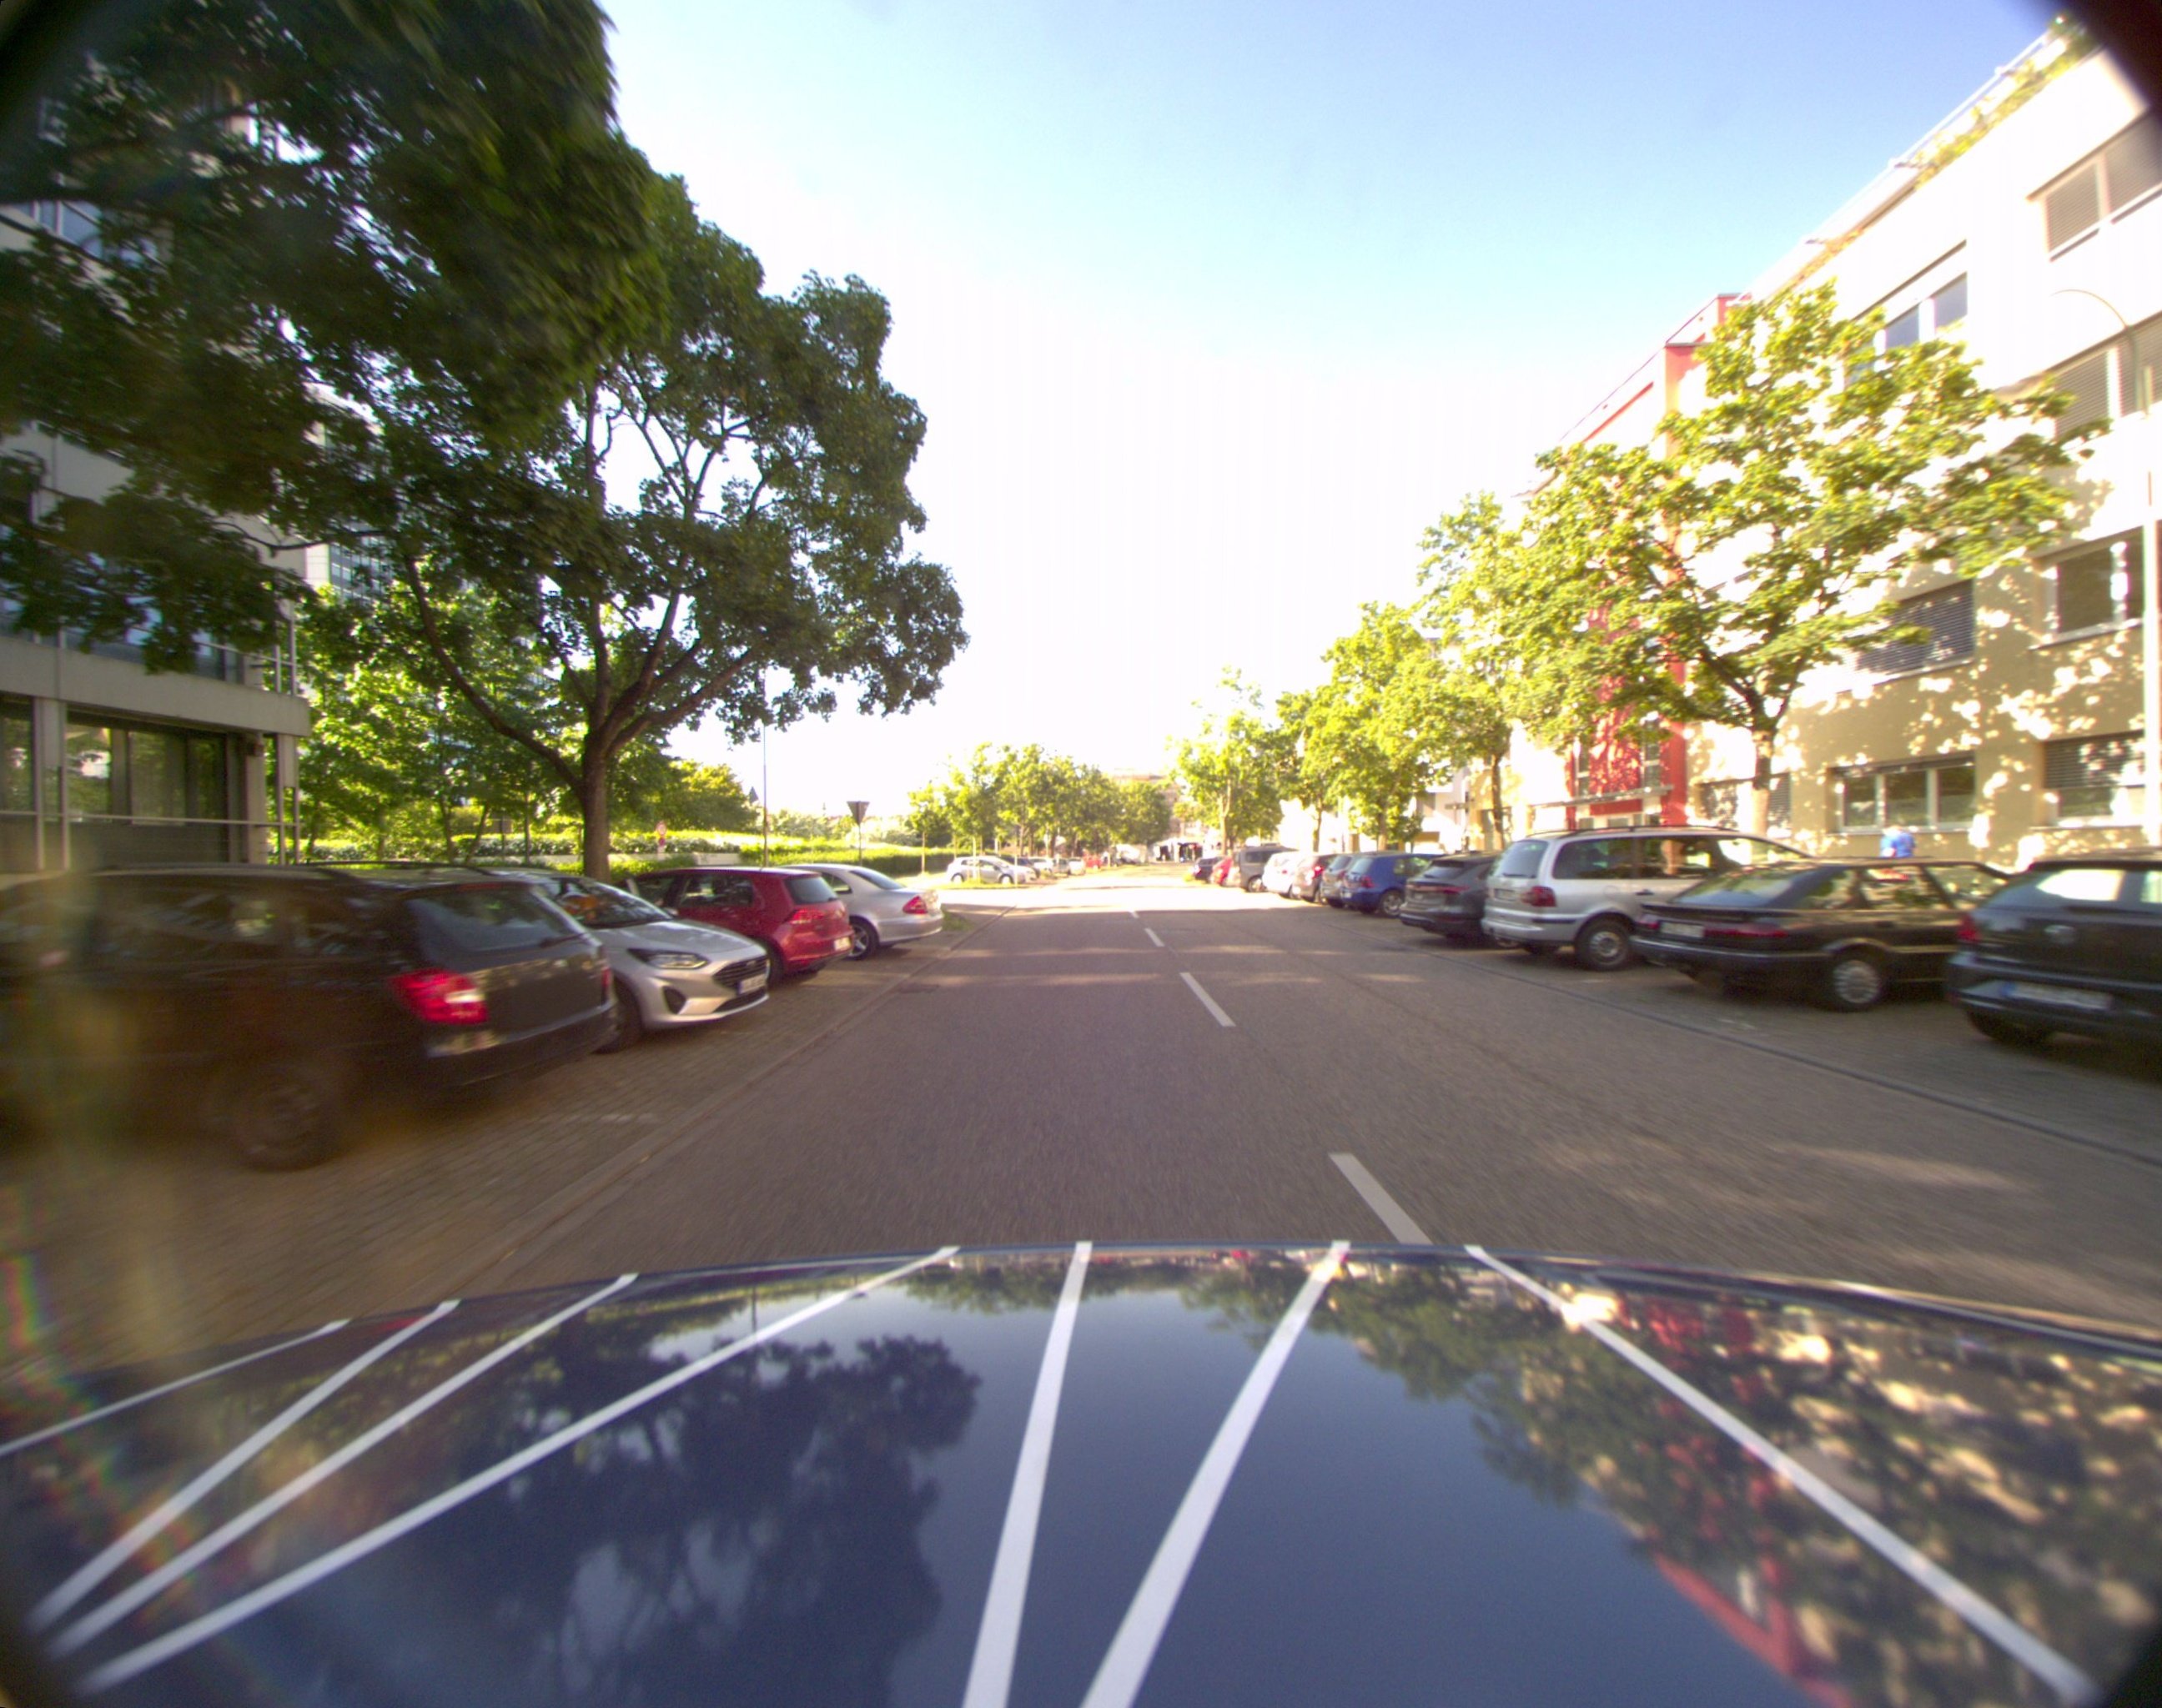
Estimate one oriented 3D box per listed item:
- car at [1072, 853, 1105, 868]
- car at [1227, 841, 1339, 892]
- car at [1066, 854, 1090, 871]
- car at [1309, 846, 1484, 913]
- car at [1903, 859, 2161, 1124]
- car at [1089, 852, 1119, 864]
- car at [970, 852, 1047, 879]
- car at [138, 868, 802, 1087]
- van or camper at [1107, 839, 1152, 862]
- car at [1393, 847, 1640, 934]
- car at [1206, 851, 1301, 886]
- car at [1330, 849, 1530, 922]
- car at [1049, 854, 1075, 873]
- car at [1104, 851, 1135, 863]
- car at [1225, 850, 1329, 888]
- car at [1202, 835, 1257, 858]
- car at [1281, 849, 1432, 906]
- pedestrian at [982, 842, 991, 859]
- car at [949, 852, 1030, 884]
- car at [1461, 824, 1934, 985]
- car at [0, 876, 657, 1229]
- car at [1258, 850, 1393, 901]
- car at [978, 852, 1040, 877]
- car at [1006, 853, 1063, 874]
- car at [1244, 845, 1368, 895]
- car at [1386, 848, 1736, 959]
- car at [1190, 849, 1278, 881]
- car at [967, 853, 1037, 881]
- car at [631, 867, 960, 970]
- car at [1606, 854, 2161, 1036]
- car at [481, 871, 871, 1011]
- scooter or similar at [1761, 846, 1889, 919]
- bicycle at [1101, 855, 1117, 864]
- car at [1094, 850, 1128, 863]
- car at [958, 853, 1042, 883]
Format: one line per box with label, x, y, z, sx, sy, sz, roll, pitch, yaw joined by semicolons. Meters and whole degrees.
car;0.864;0.693;87.543;3.438;1.535;1.629;2;1;14
car;7.924;0.477;30.024;3.901;1.801;1.786;-3;0;1
car;-0.256;0.788;73.130;1.646;1.485;3.768;2;1;8
car;8.144;0.627;19.864;3.735;1.500;1.859;-3;0;0
car;7.993;0.746;4.785;3.735;1.419;1.725;-3;0;0
car;2.987;0.519;96.946;3.466;1.471;1.861;2;1;15
car;-4.513;0.725;47.737;4.560;1.506;2.158;2;1;1
car;-5.126;0.945;6.796;4.524;1.533;1.922;1;0;4
van or camper;7.054;-0.518;109.727;5.990;2.967;2.673;2;1;12
car;8.302;0.670;14.728;3.735;1.419;1.772;-3;0;0
car;7.837;0.650;34.726;3.901;1.415;1.739;-3;0;1
car;7.932;0.688;17.529;3.735;1.419;1.841;-3;0;0
car;-1.624;0.819;65.757;1.813;1.485;4.625;2;1;4
car;5.465;0.364;107.179;4.155;1.537;1.860;2;1;11
car;8.246;0.621;32.172;3.901;1.415;1.739;-3;0;1
car;14.053;-0.735;71.888;4.776;1.973;1.997;-2;0;-22
car;8.058;0.664;22.435;3.736;1.438;1.859;-3;0;-3
pedestrian;-8.660;-0.316;69.828;0.608;1.533;0.937;0;1;4
car;-4.766;0.714;40.011;3.957;1.506;1.701;2;1;2
car;7.580;0.609;9.796;4.330;1.707;1.963;-3;0;6
car;-5.288;0.946;4.415;4.528;1.533;1.921;1;0;-3
car;7.916;0.676;24.798;3.736;1.438;1.875;-3;0;-3
car;-4.781;0.676;50.476;3.814;1.440;1.745;3;1;3
car;-3.530;0.706;58.065;4.096;1.421;1.643;3;1;8
car;8.058;0.565;27.479;3.902;1.565;1.859;-3;0;0
car;7.408;0.721;12.030;4.414;1.419;1.772;-3;0;-1
car;7.921;0.566;39.581;4.272;1.415;1.740;-3;0;4
car;-4.675;0.753;45.188;3.885;1.506;1.750;2;1;1
car;-4.385;0.981;12.165;4.589;1.467;1.747;0;0;1
car;7.840;0.769;7.315;4.332;1.350;1.757;-3;0;0
car;-4.843;0.988;9.477;3.846;1.438;1.922;1;0;4
scooter or similar;15.663;0.562;16.078;0.656;1.438;2.109;0;0;1
bicycle;3.332;0.644;90.041;1.752;0.985;0.531;1;1;25
car;3.925;0.351;99.658;4.199;1.537;1.861;2;1;14
car;-4.505;0.782;42.620;4.563;1.506;1.981;1;1;-5
